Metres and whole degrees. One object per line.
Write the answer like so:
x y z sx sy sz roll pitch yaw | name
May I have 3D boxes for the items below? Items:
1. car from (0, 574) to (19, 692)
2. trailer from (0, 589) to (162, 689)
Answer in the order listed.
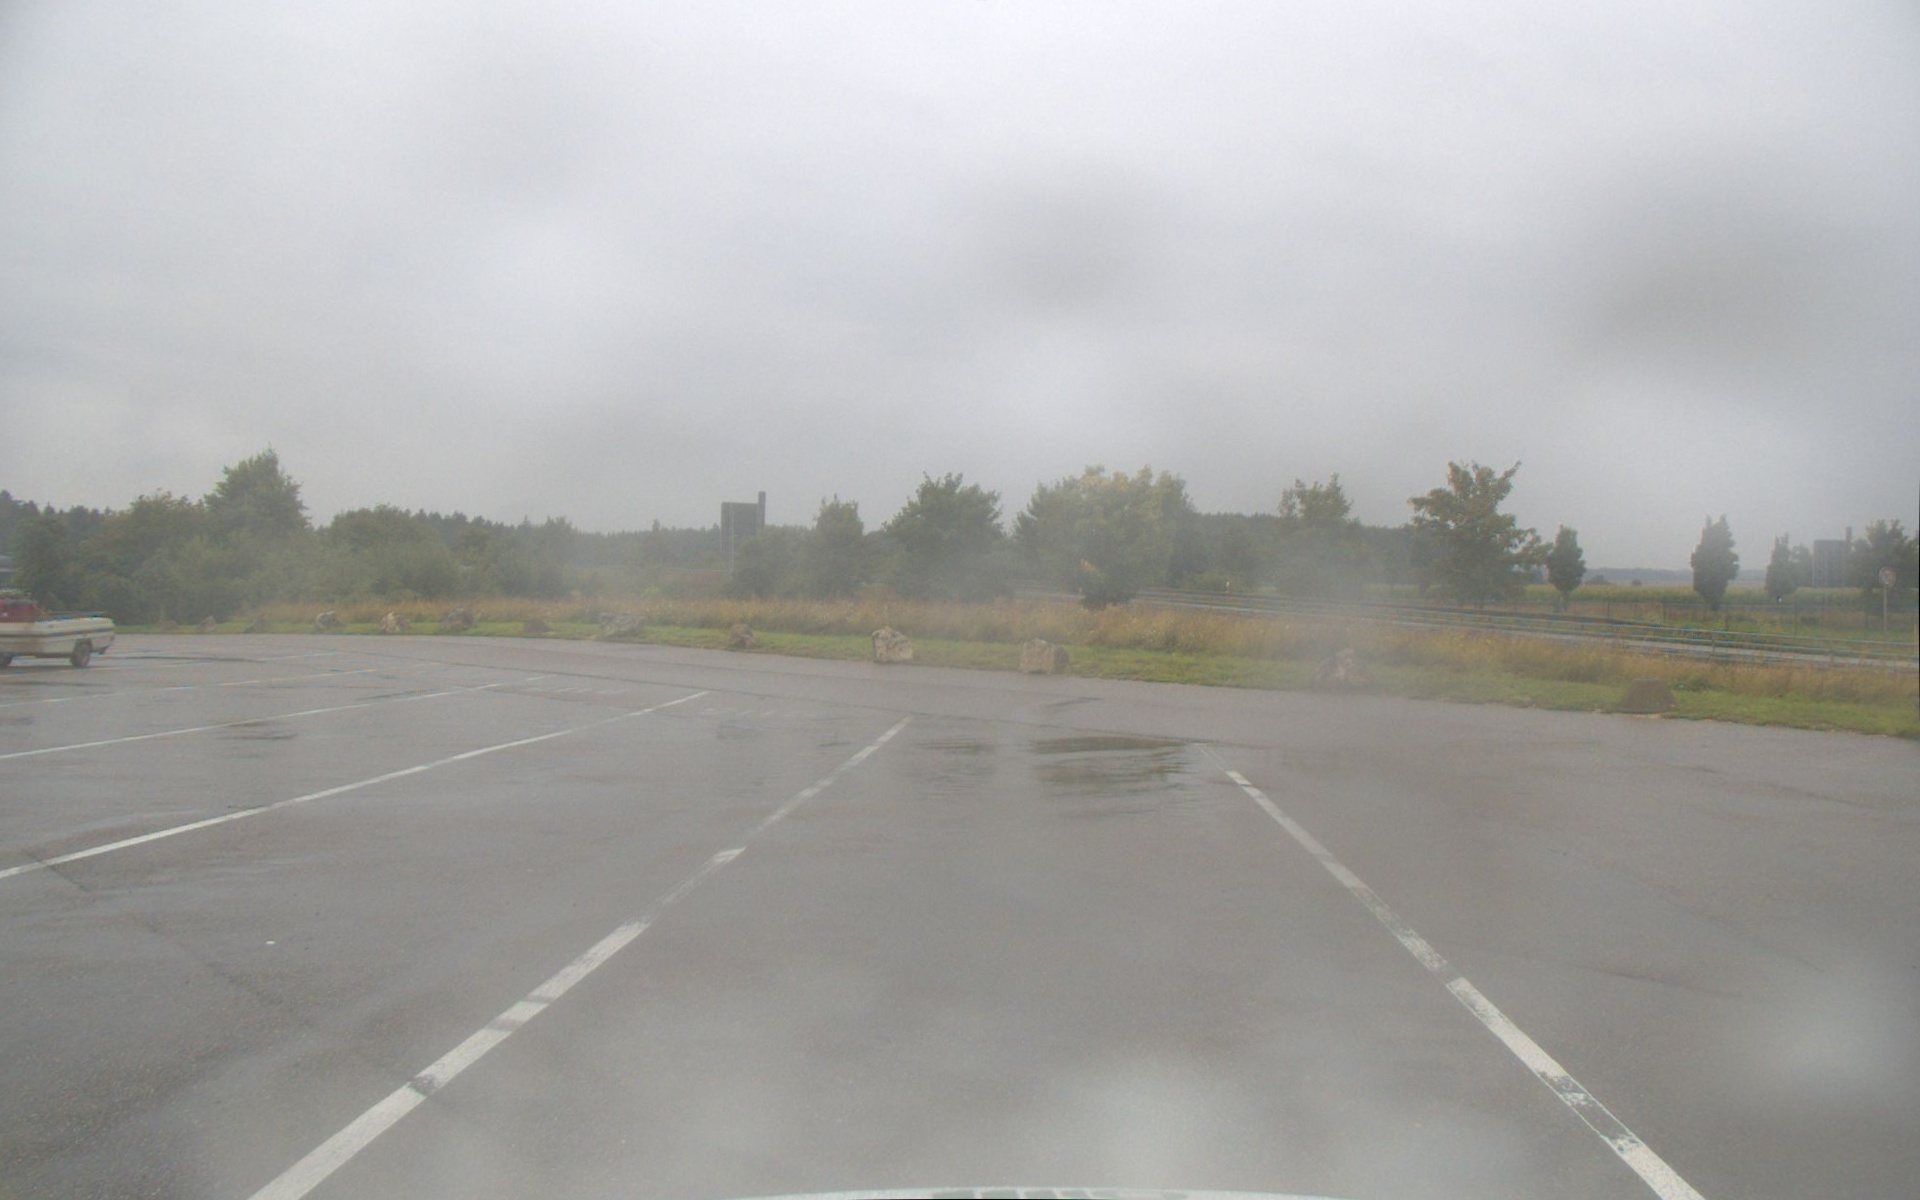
-15.825 0.516 24.004 1.783 1.808 4.003 -1 0 5 | car
-15.446 0.607 27.999 1.659 1.559 4.003 -1 0 5 | trailer
